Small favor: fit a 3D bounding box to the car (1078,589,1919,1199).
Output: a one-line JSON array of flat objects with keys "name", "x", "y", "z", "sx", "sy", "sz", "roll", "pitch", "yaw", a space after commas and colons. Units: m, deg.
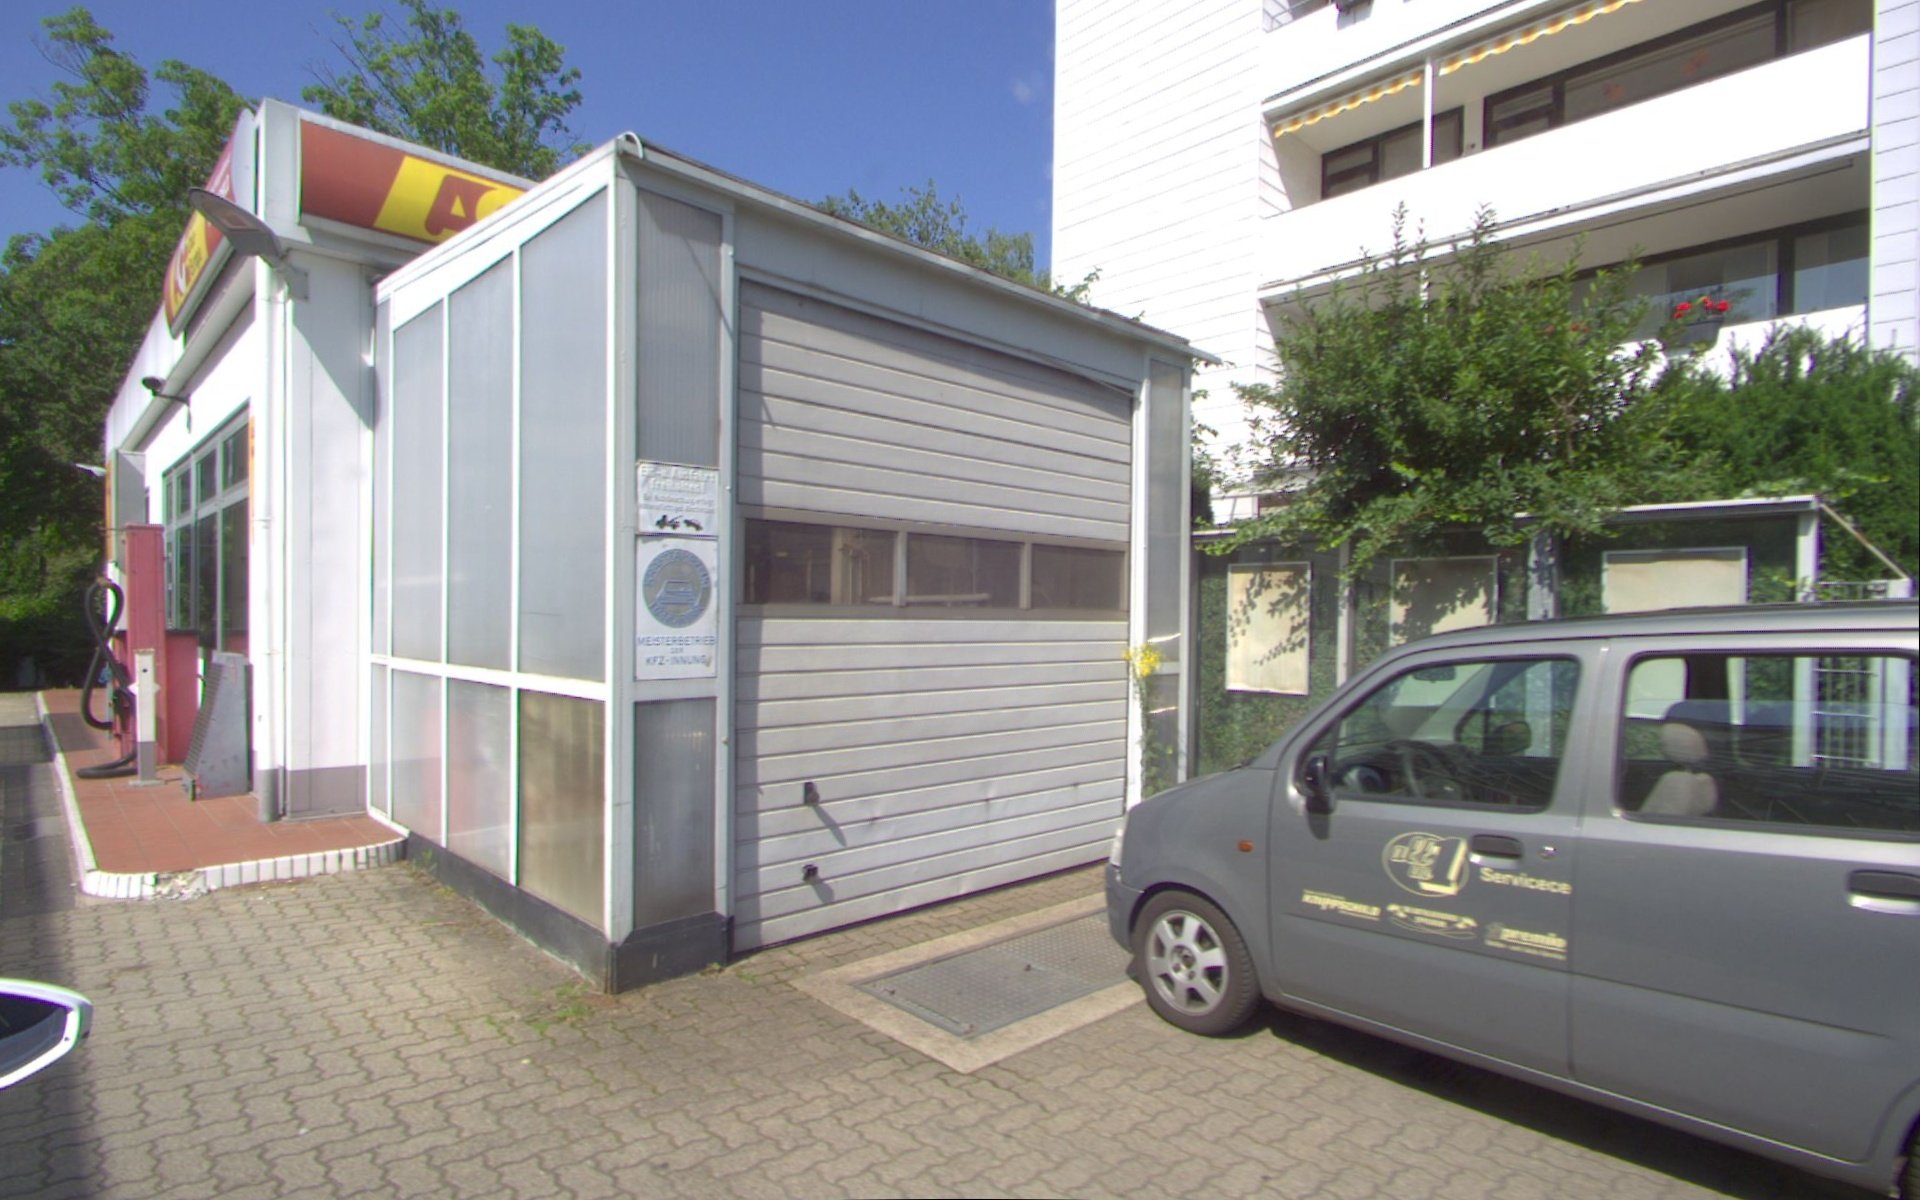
[{"name": "car", "x": 2.306, "y": 0.834, "z": 3.424, "sx": 1.674, "sy": 1.637, "sz": 3.631, "roll": 1, "pitch": -2, "yaw": -41}]
